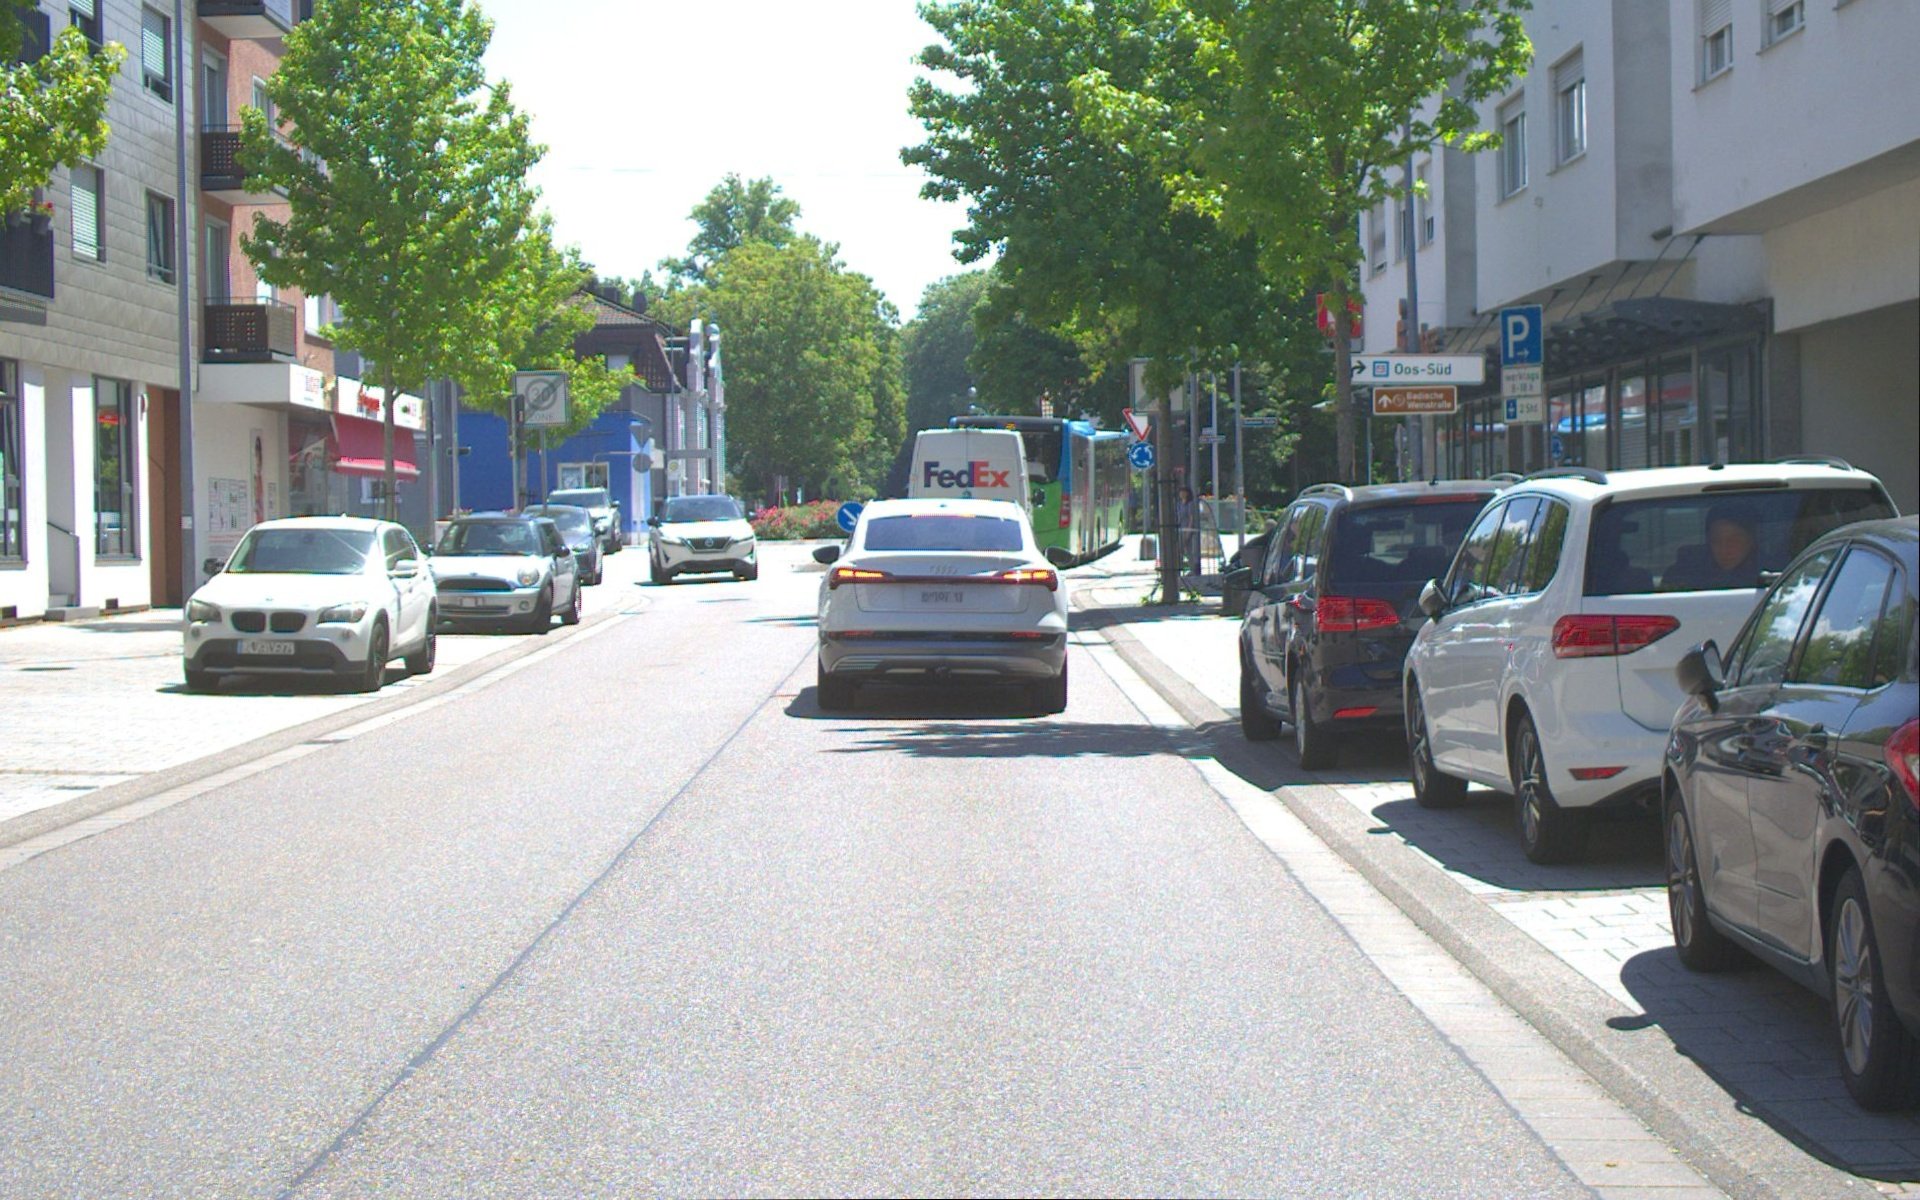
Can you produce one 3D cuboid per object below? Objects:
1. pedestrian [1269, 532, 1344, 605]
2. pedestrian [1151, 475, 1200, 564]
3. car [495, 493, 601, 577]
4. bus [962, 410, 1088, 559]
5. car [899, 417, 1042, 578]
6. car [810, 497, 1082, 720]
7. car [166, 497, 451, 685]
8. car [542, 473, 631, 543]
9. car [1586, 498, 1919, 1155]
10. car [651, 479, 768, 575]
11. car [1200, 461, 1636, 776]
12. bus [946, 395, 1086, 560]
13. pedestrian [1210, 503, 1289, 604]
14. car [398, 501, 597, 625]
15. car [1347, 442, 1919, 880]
[{"bbox_3d":[4.287,-0.393,42.583,0.906,0.876,0.648,-1,2,5],"label":"pedestrian"},{"bbox_3d":[3.651,-1.366,58.346,0.716,1.497,0.582,-1,2,-7],"label":"pedestrian"},{"bbox_3d":[-7.701,-1.242,64.527,1.837,1.490,4.001,-1,2,-5],"label":"car"},{"bbox_3d":[1.560,-2.615,79.063,2.661,3.198,7.451,1,1,2],"label":"bus"},{"bbox_3d":[0.171,-1.632,55.575,2.156,2.433,5.284,1,1,0],"label":"car"},{"bbox_3d":[-0.143,0.008,27.418,1.993,1.627,4.001,1,2,-1],"label":"car"},{"bbox_3d":[-6.067,-0.140,32.492,1.752,1.612,4.401,1,2,1],"label":"car"},{"bbox_3d":[-9.864,-2.423,90.562,1.864,1.751,4.001,1,1,-13],"label":"car"},{"bbox_3d":[3.100,0.430,9.831,1.896,1.433,4.544,-1,2,2],"label":"car"},{"bbox_3d":[-4.647,-1.378,64.277,1.856,1.686,4.151,-2,2,0],"label":"car"},{"bbox_3d":[2.697,0.034,21.315,1.855,1.669,4.538,-2,2,-2],"label":"car"},{"bbox_3d":[1.238,-2.509,71.694,2.661,3.210,7.301,1,1,2],"label":"bus"},{"bbox_3d":[3.625,-0.589,43.055,0.906,1.232,0.648,-1,2,-1],"label":"pedestrian"},{"bbox_3d":[-5.770,-0.502,43.352,1.752,1.448,4.401,1,2,2],"label":"car"},{"bbox_3d":[3.135,0.166,15.968,1.896,1.669,4.691,-2,2,-2],"label":"car"}]
